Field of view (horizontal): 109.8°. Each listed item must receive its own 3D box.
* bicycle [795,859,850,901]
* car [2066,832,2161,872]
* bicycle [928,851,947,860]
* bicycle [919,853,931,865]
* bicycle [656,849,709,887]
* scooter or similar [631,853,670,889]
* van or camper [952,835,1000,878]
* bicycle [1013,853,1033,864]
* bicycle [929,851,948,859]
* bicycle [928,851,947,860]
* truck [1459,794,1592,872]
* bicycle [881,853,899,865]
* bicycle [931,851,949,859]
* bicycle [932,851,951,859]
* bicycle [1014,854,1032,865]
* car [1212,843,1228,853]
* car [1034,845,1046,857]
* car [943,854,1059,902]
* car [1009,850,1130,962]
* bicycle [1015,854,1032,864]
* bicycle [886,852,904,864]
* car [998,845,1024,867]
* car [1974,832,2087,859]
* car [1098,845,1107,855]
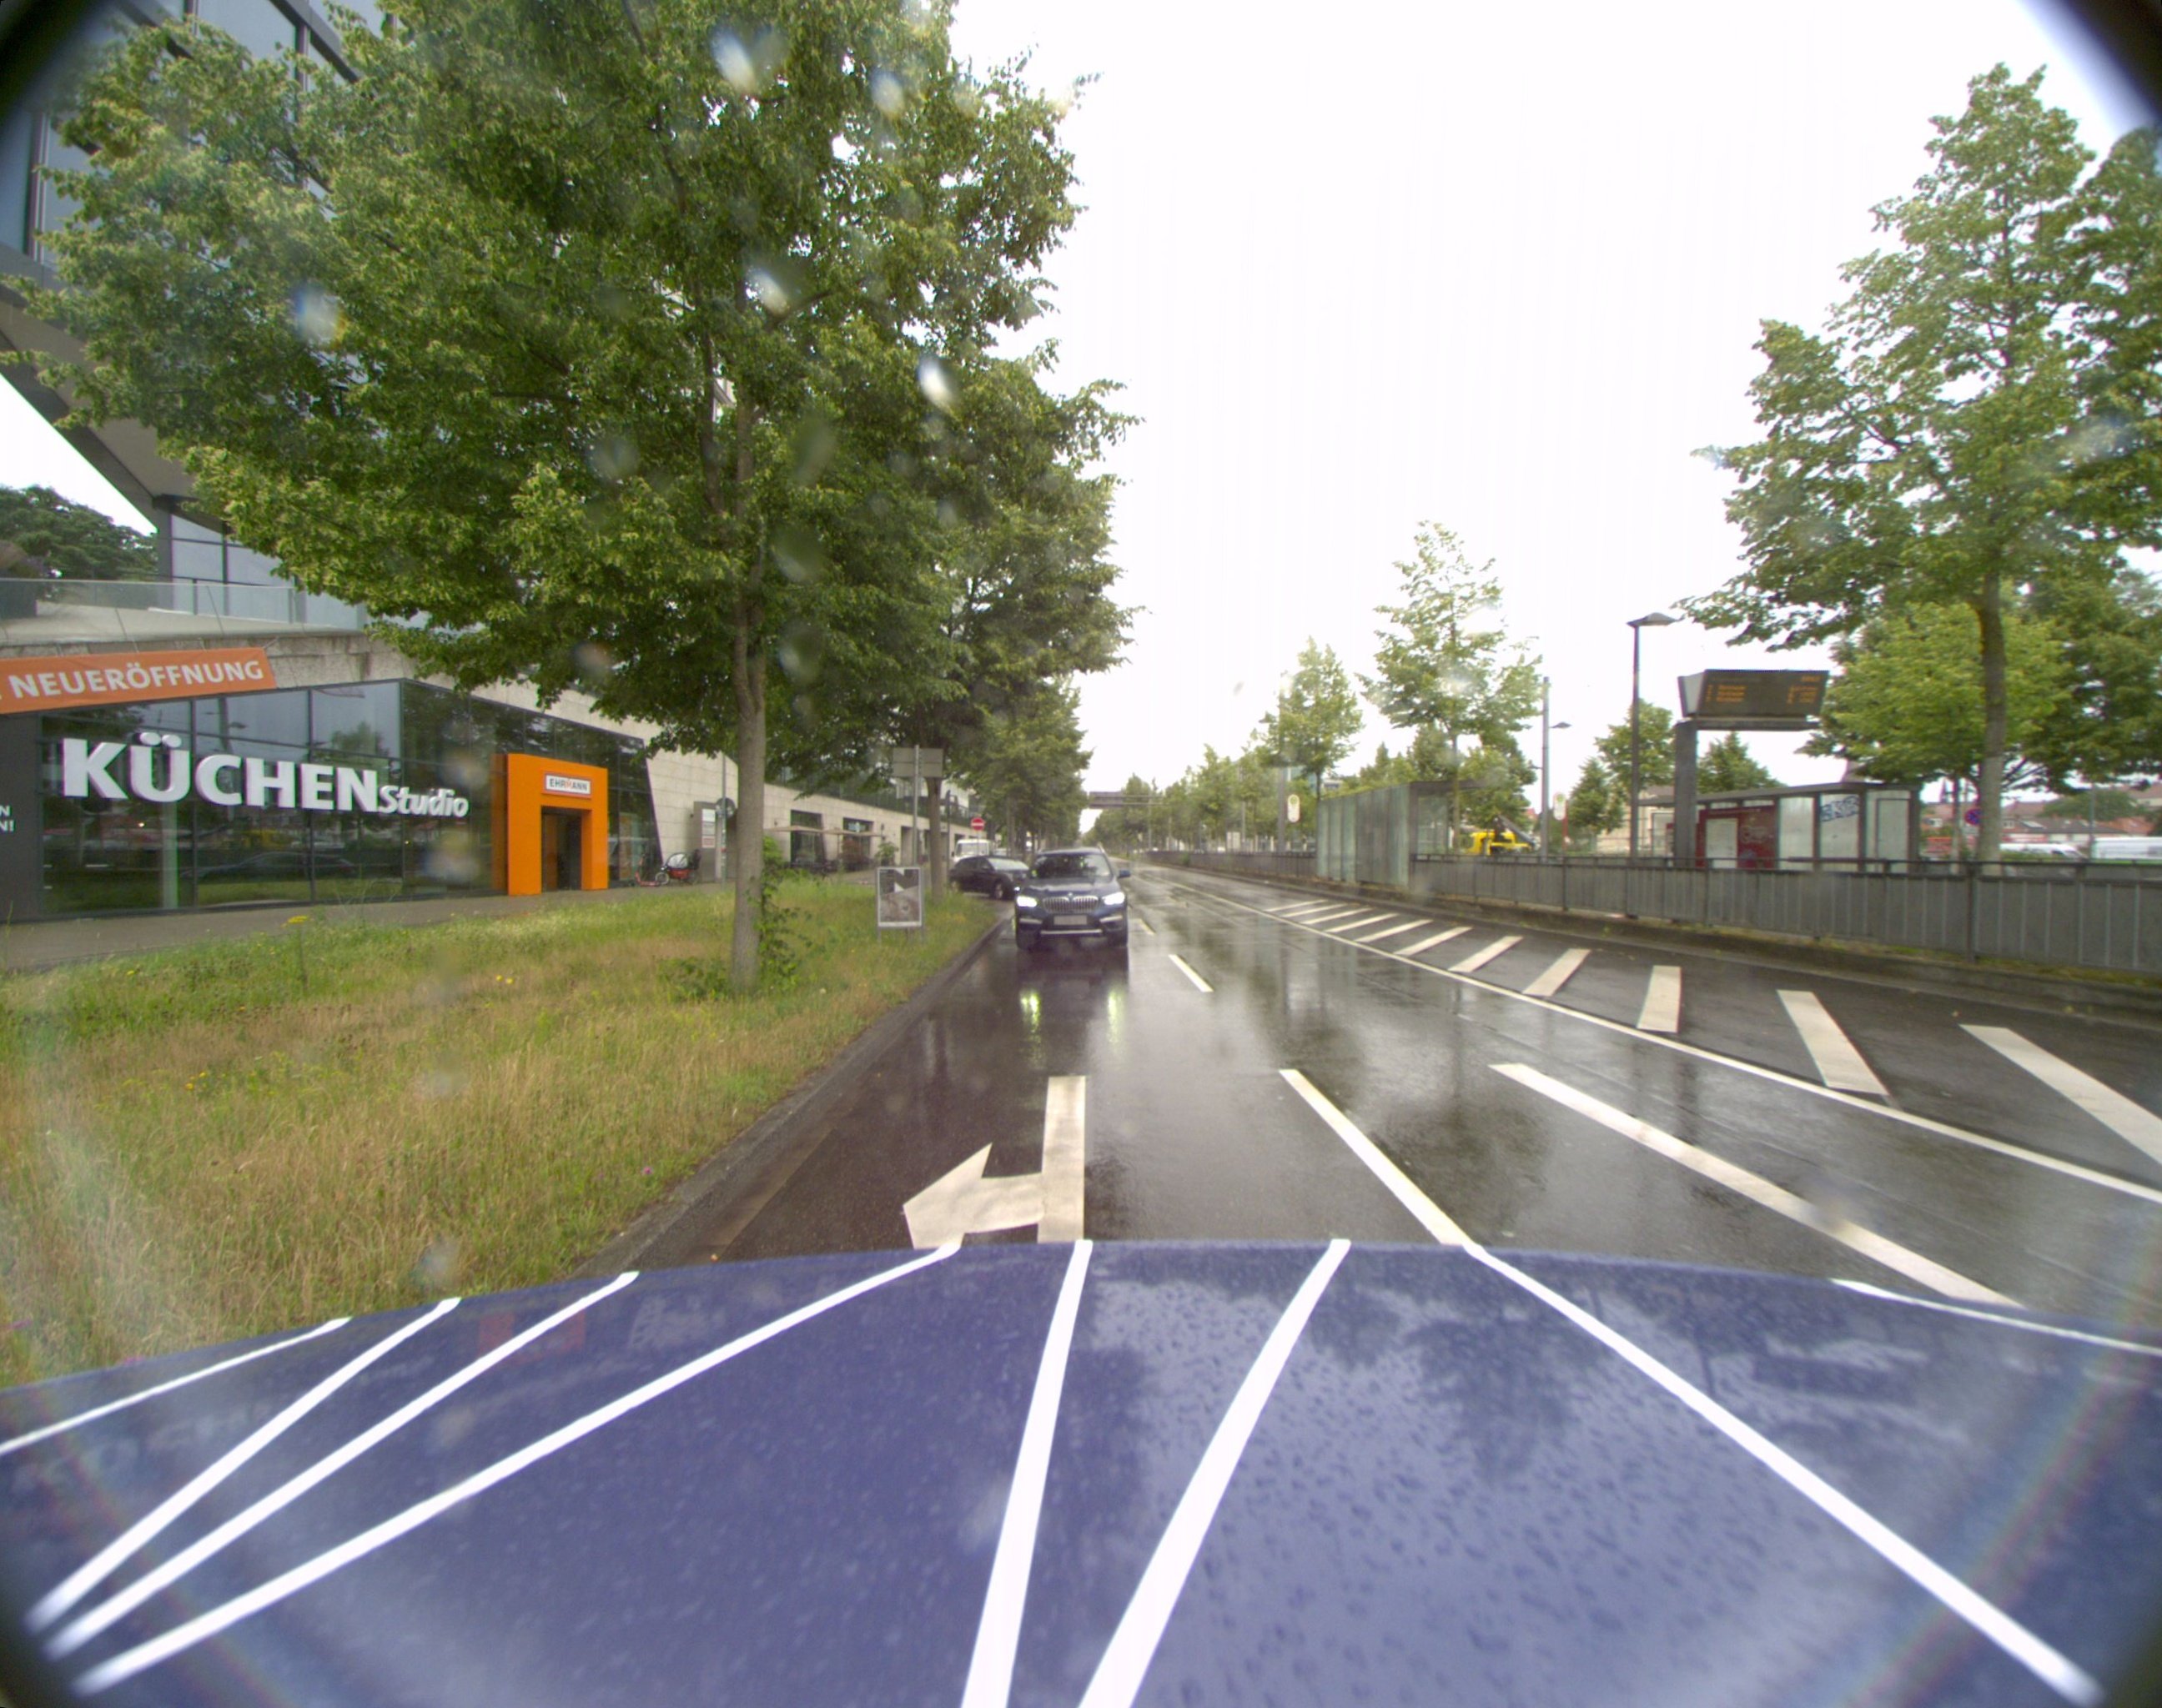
[{"bbox_3d":[-8.607,0.859,25.282,1.843,1.338,0.533,-1,0,26],"label":"bicycle"},{"bbox_3d":[70.013,-0.156,49.738,1.999,2.448,6.744,-2,1,-4],"label":"car"},{"bbox_3d":[-15.798,0.137,83.586,2.029,0.940,0.395,1,1,-4],"label":"bicycle"},{"bbox_3d":[-13.190,0.390,64.339,0.402,0.940,1.859,-1,1,8],"label":"bicycle"},{"bbox_3d":[-15.432,0.534,29.510,0.734,1.394,2.425,1,0,1],"label":"bicycle"},{"bbox_3d":[-15.644,0.597,27.648,0.342,1.221,1.242,-2,2,19],"label":"scooter or similar"},{"bbox_3d":[-5.949,0.089,43.690,2.030,2.279,5.458,-1,1,0],"label":"van or camper"},{"bbox_3d":[-5.735,0.429,74.927,1.862,0.940,0.395,-2,2,-4],"label":"bicycle"},{"bbox_3d":[-15.897,0.123,84.837,2.029,0.940,0.395,1,1,-4],"label":"bicycle"},{"bbox_3d":[-15.855,0.130,84.245,2.029,0.940,0.395,1,1,-4],"label":"bicycle"},{"bbox_3d":[24.167,-1.128,42.005,2.693,3.756,9.184,-2,1,5],"label":"truck"},{"bbox_3d":[-15.415,0.392,61.371,0.396,0.940,2.024,-4,2,-45],"label":"bicycle"},{"bbox_3d":[-15.856,0.104,85.420,2.029,0.940,0.395,1,1,-4],"label":"bicycle"},{"bbox_3d":[-15.905,0.095,86.669,2.029,0.940,0.395,1,1,-4],"label":"bicycle"},{"bbox_3d":[-5.587,0.496,72.960,1.699,0.940,0.395,-2,2,-4],"label":"bicycle"},{"bbox_3d":[24.994,-1.095,136.942,1.999,1.736,3.998,-2,1,-2],"label":"car"},{"bbox_3d":[-6.037,-0.477,112.143,1.659,1.711,3.999,-2,1,0],"label":"car"},{"bbox_3d":[-2.772,0.731,25.492,1.836,1.412,4.333,-2,1,-38],"label":"car"},{"bbox_3d":[-0.146,0.803,13.756,1.816,1.603,3.999,-2,1,1],"label":"car"},{"bbox_3d":[-5.588,0.462,73.657,1.649,0.940,0.395,-2,2,-4],"label":"bicycle"},{"bbox_3d":[-15.197,0.371,62.018,0.396,0.940,2.024,-4,2,-45],"label":"bicycle"},{"bbox_3d":[-5.757,0.143,62.881,1.746,1.749,4.847,-1,1,0],"label":"car"},{"bbox_3d":[84.248,-0.768,67.574,2.000,2.293,6.138,-3,1,-9],"label":"car"},{"bbox_3d":[5.018,-0.980,175.981,1.998,2.232,3.999,-2,1,1],"label":"car"}]
